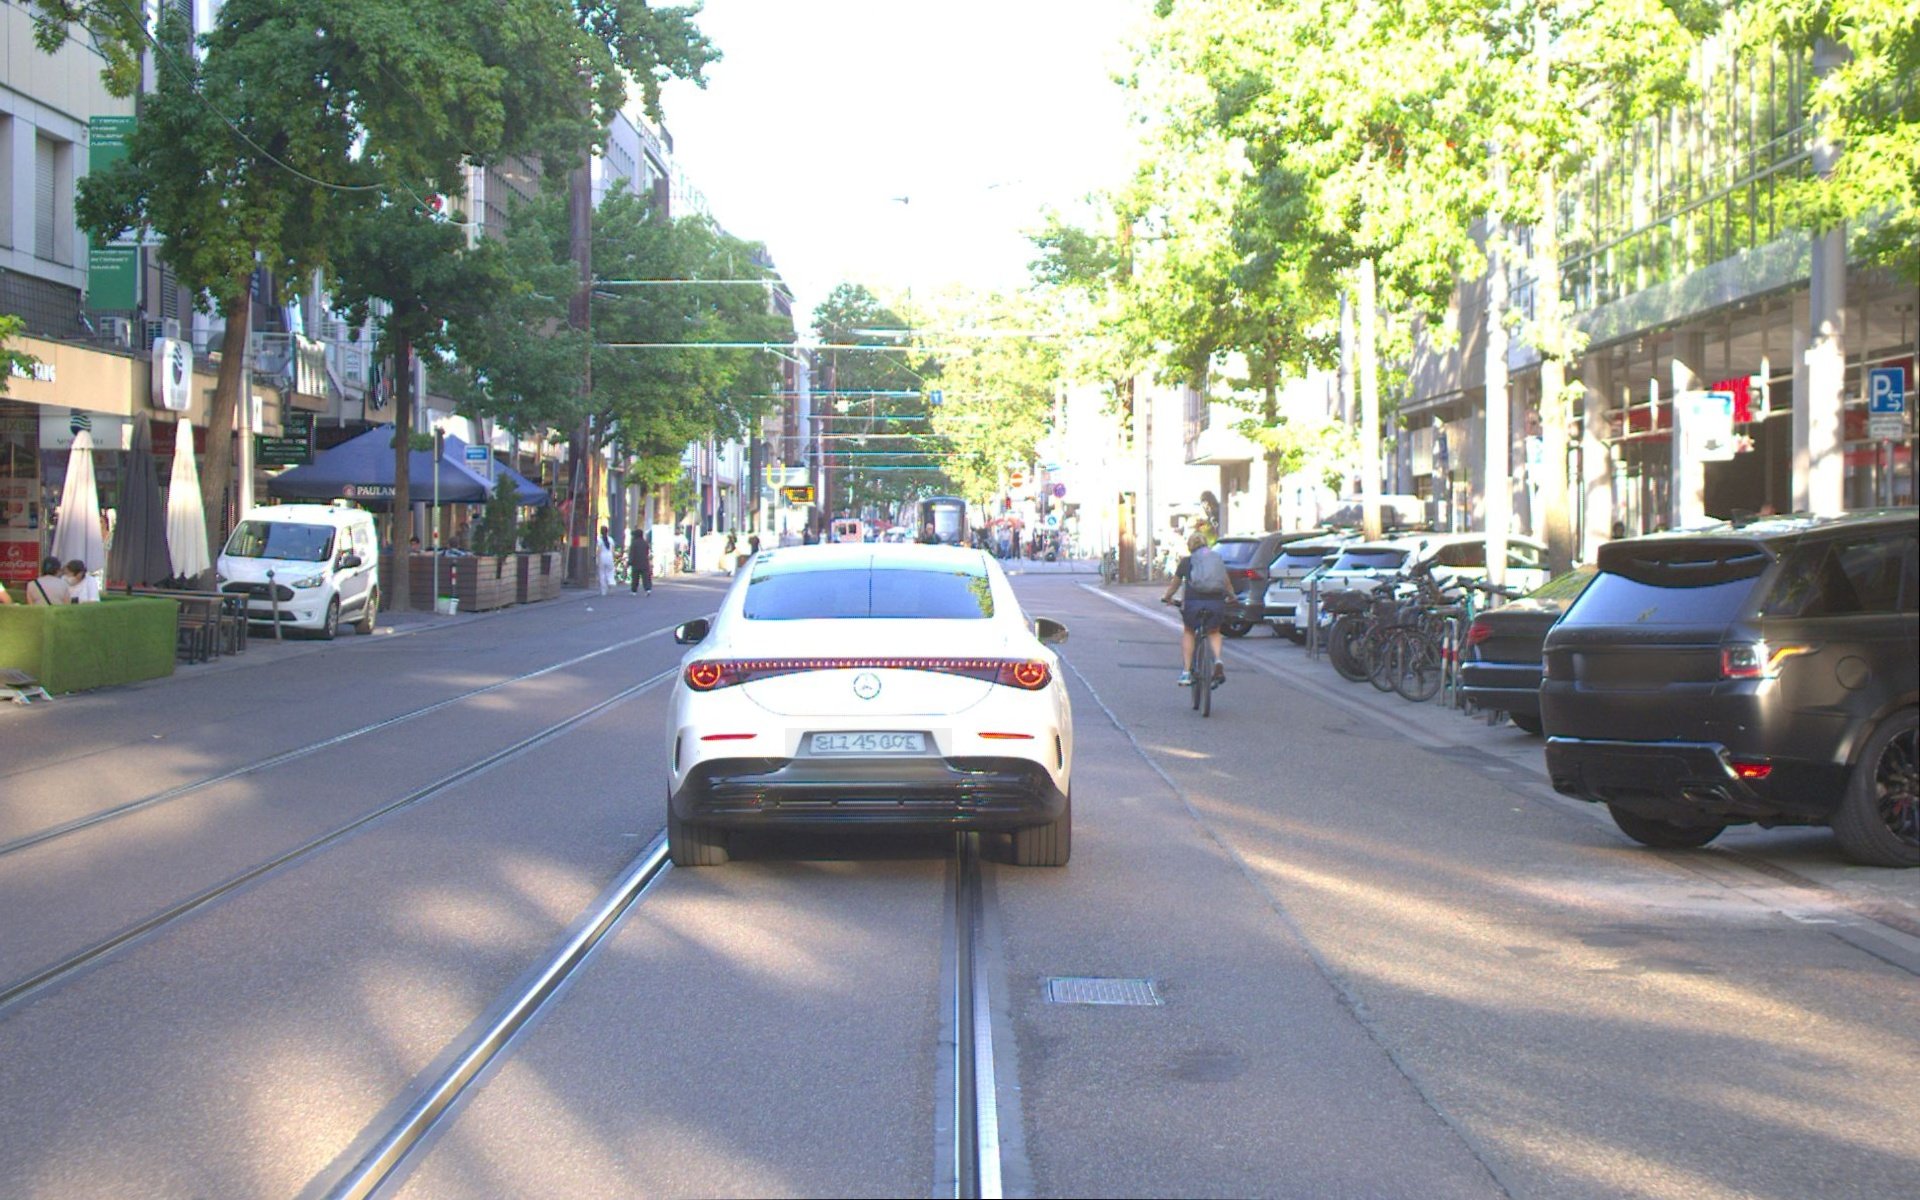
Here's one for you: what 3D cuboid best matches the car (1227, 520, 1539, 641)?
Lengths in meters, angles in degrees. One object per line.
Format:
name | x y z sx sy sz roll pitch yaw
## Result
car | 6.213 -0.297 50.388 4.235 1.582 1.884 -3 1 -31

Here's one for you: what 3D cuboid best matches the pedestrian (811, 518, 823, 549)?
pedestrian | -7.533 -3.506 181.194 0.660 1.593 0.573 0 1 -1

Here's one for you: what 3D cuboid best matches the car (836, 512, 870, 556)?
car | -6.949 -4.302 224.443 1.993 2.887 5.275 0 1 0

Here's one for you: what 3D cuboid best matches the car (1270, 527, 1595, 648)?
car | 6.548 -0.188 47.639 4.145 1.494 1.689 -3 1 -23

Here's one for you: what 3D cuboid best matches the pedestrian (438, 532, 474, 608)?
pedestrian | -9.126 -0.552 62.229 0.549 1.352 0.583 1 1 -1

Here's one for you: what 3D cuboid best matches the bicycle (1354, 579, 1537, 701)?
bicycle | 4.803 0.382 33.997 1.558 1.084 0.869 -4 3 -30

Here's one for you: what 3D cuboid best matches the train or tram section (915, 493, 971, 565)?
train or tram section | -0.818 -3.603 173.895 2.694 3.504 12.546 0 1 0

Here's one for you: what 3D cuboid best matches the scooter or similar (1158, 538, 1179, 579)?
scooter or similar | 6.548 -1.291 108.010 0.491 1.273 0.660 -2 1 -11

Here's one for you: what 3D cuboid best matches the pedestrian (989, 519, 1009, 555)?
pedestrian | 1.983 -3.206 174.185 0.960 1.779 0.804 -1 1 0

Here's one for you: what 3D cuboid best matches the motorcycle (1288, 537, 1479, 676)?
motorcycle | 4.911 0.067 39.757 2.313 1.504 0.858 -3 1 -43

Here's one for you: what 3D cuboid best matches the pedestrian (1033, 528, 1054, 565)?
pedestrian | 4.127 -2.653 170.157 0.960 1.779 0.804 -1 1 0

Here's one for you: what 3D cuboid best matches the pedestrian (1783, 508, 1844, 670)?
pedestrian | 8.971 -0.120 36.133 0.517 1.690 0.550 1 1 5

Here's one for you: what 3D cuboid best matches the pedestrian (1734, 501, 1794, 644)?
pedestrian | 9.992 -0.345 42.736 0.557 1.744 0.525 -2 1 0

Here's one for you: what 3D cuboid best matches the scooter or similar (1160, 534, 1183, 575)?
scooter or similar | 6.675 -1.446 108.601 0.527 1.273 0.660 -2 1 -11

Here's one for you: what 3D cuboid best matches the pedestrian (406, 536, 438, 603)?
pedestrian | -9.953 -0.563 63.599 0.494 1.223 0.535 1 1 -1

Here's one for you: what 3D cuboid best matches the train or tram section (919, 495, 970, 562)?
train or tram section | -0.795 -3.849 186.447 2.694 3.504 12.546 0 1 0

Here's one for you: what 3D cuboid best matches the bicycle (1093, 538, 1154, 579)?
bicycle | 5.393 -1.364 113.310 1.908 1.277 0.610 -2 1 -11

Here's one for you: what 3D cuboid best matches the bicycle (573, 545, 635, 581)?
bicycle | -9.604 -1.008 92.639 1.596 0.927 0.377 2 1 7

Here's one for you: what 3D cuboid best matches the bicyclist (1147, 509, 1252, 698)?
bicyclist | 2.100 0.020 30.115 0.778 1.607 0.912 2 1 9

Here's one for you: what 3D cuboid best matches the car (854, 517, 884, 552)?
car | -6.433 -4.624 243.192 1.910 2.452 5.275 0 1 0

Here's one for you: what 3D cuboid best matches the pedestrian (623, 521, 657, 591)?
pedestrian | -7.261 -1.001 77.965 0.622 1.545 0.852 3 1 1

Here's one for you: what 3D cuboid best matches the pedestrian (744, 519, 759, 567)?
pedestrian | -8.315 -2.262 137.126 0.539 1.922 0.573 0 1 4

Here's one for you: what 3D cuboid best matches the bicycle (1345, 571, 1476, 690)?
bicycle | 4.758 0.314 36.246 0.481 1.159 1.691 -2 1 40

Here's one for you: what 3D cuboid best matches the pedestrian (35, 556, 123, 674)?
pedestrian | -9.236 0.150 36.054 0.657 1.189 0.798 3 1 -1

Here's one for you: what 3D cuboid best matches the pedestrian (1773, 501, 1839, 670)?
pedestrian | 8.894 -0.159 36.156 0.523 1.744 0.559 -2 1 2

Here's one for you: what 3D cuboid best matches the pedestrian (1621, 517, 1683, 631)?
pedestrian | 9.989 -0.388 49.627 0.714 1.618 0.882 -1 1 1

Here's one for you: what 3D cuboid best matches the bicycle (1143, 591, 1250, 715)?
bicycle | 2.087 0.445 30.144 0.719 0.992 2.058 2 1 9

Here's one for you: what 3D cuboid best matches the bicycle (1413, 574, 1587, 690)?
bicycle | 5.646 0.328 35.955 1.689 1.102 0.632 -3 1 -26

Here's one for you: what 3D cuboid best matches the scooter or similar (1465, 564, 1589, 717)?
scooter or similar | 5.064 0.355 30.662 0.458 1.272 1.304 -3 1 37

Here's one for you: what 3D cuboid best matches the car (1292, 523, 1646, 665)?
car | 6.377 -0.098 42.953 4.146 1.566 1.854 -3 2 -33

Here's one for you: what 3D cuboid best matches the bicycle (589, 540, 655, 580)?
bicycle | -9.433 -1.124 95.871 1.788 1.073 0.377 2 1 -4

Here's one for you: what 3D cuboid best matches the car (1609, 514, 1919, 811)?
car | 6.608 0.278 21.486 4.651 1.649 2.009 -3 1 -23

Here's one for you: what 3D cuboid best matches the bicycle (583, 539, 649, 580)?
bicycle | -10.003 -1.168 100.081 1.846 1.137 0.377 2 1 2

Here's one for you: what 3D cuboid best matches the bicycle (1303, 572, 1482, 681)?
bicycle | 4.811 0.286 38.194 1.890 1.116 0.667 -3 1 -29

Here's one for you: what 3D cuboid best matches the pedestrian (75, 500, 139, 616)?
pedestrian | -11.869 -0.587 47.871 0.647 1.569 0.700 3 1 0

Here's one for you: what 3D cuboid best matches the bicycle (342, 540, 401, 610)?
bicycle | -10.307 -0.449 60.135 0.697 1.117 2.087 3 2 -17

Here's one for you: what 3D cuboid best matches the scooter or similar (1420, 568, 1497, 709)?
scooter or similar | 4.696 0.348 32.440 0.450 1.272 1.307 -3 1 -1

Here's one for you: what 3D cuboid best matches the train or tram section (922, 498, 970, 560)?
train or tram section | -0.780 -4.076 198.287 2.694 3.504 11.144 0 1 0

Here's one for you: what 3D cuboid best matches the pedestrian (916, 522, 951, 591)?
pedestrian | -0.710 -1.157 91.793 0.841 1.795 0.790 2 1 1

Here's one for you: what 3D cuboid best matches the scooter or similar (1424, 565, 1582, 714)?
scooter or similar | 4.971 0.360 31.482 1.302 1.272 0.564 -4 1 -31

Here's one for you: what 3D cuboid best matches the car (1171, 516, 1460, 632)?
car | 5.645 -0.423 54.410 4.342 1.646 1.695 -3 1 -31

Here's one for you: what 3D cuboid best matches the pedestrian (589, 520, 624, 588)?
pedestrian | -7.928 -1.032 77.081 0.622 1.504 0.833 3 1 1

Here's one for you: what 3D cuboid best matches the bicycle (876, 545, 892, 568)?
bicycle | -3.944 -2.246 177.827 0.800 1.138 2.257 2 1 -1

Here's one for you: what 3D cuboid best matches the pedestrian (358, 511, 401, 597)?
pedestrian | -10.881 -0.863 64.452 0.673 1.601 0.720 1 1 -1

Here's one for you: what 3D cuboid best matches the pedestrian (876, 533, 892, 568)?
pedestrian | -3.933 -2.550 177.891 0.800 1.776 0.849 2 1 -1

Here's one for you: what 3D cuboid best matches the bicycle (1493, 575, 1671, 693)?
bicycle | 6.312 0.329 34.854 1.669 1.071 0.733 -4 3 -30

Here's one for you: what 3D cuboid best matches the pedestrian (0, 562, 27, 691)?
pedestrian | -10.011 0.255 35.152 0.657 1.289 0.798 3 1 -1

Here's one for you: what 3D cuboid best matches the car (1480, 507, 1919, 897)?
car | 5.214 0.391 17.885 4.651 1.757 1.995 -3 1 -29

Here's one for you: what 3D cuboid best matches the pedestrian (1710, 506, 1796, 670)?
pedestrian | 8.257 -0.124 35.799 0.678 1.690 0.550 0 1 -12

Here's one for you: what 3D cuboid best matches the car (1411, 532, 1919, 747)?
car | 6.273 0.266 28.245 5.046 1.464 1.977 -3 1 -35

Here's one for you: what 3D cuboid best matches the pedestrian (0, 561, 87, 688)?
pedestrian | -9.384 0.240 35.103 0.657 1.240 0.873 3 1 -1

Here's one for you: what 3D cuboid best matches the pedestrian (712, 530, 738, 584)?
pedestrian | -7.860 -1.445 114.907 0.788 1.795 0.844 0 1 1

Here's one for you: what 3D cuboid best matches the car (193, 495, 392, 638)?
car | -9.462 -0.501 49.046 1.795 1.858 4.553 3 1 1

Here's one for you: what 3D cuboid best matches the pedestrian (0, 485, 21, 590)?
pedestrian | -13.726 -0.903 48.338 0.769 1.462 0.765 3 1 -2

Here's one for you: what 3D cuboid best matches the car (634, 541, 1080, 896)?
car | -0.440 0.466 16.629 1.857 1.450 4.175 1 1 0

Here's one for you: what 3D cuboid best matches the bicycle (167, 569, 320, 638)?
bicycle | -9.548 0.053 45.849 0.836 0.862 1.856 4 2 39

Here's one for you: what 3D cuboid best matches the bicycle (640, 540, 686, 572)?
bicycle | -9.952 -1.473 115.127 1.492 1.025 0.345 1 1 -10
